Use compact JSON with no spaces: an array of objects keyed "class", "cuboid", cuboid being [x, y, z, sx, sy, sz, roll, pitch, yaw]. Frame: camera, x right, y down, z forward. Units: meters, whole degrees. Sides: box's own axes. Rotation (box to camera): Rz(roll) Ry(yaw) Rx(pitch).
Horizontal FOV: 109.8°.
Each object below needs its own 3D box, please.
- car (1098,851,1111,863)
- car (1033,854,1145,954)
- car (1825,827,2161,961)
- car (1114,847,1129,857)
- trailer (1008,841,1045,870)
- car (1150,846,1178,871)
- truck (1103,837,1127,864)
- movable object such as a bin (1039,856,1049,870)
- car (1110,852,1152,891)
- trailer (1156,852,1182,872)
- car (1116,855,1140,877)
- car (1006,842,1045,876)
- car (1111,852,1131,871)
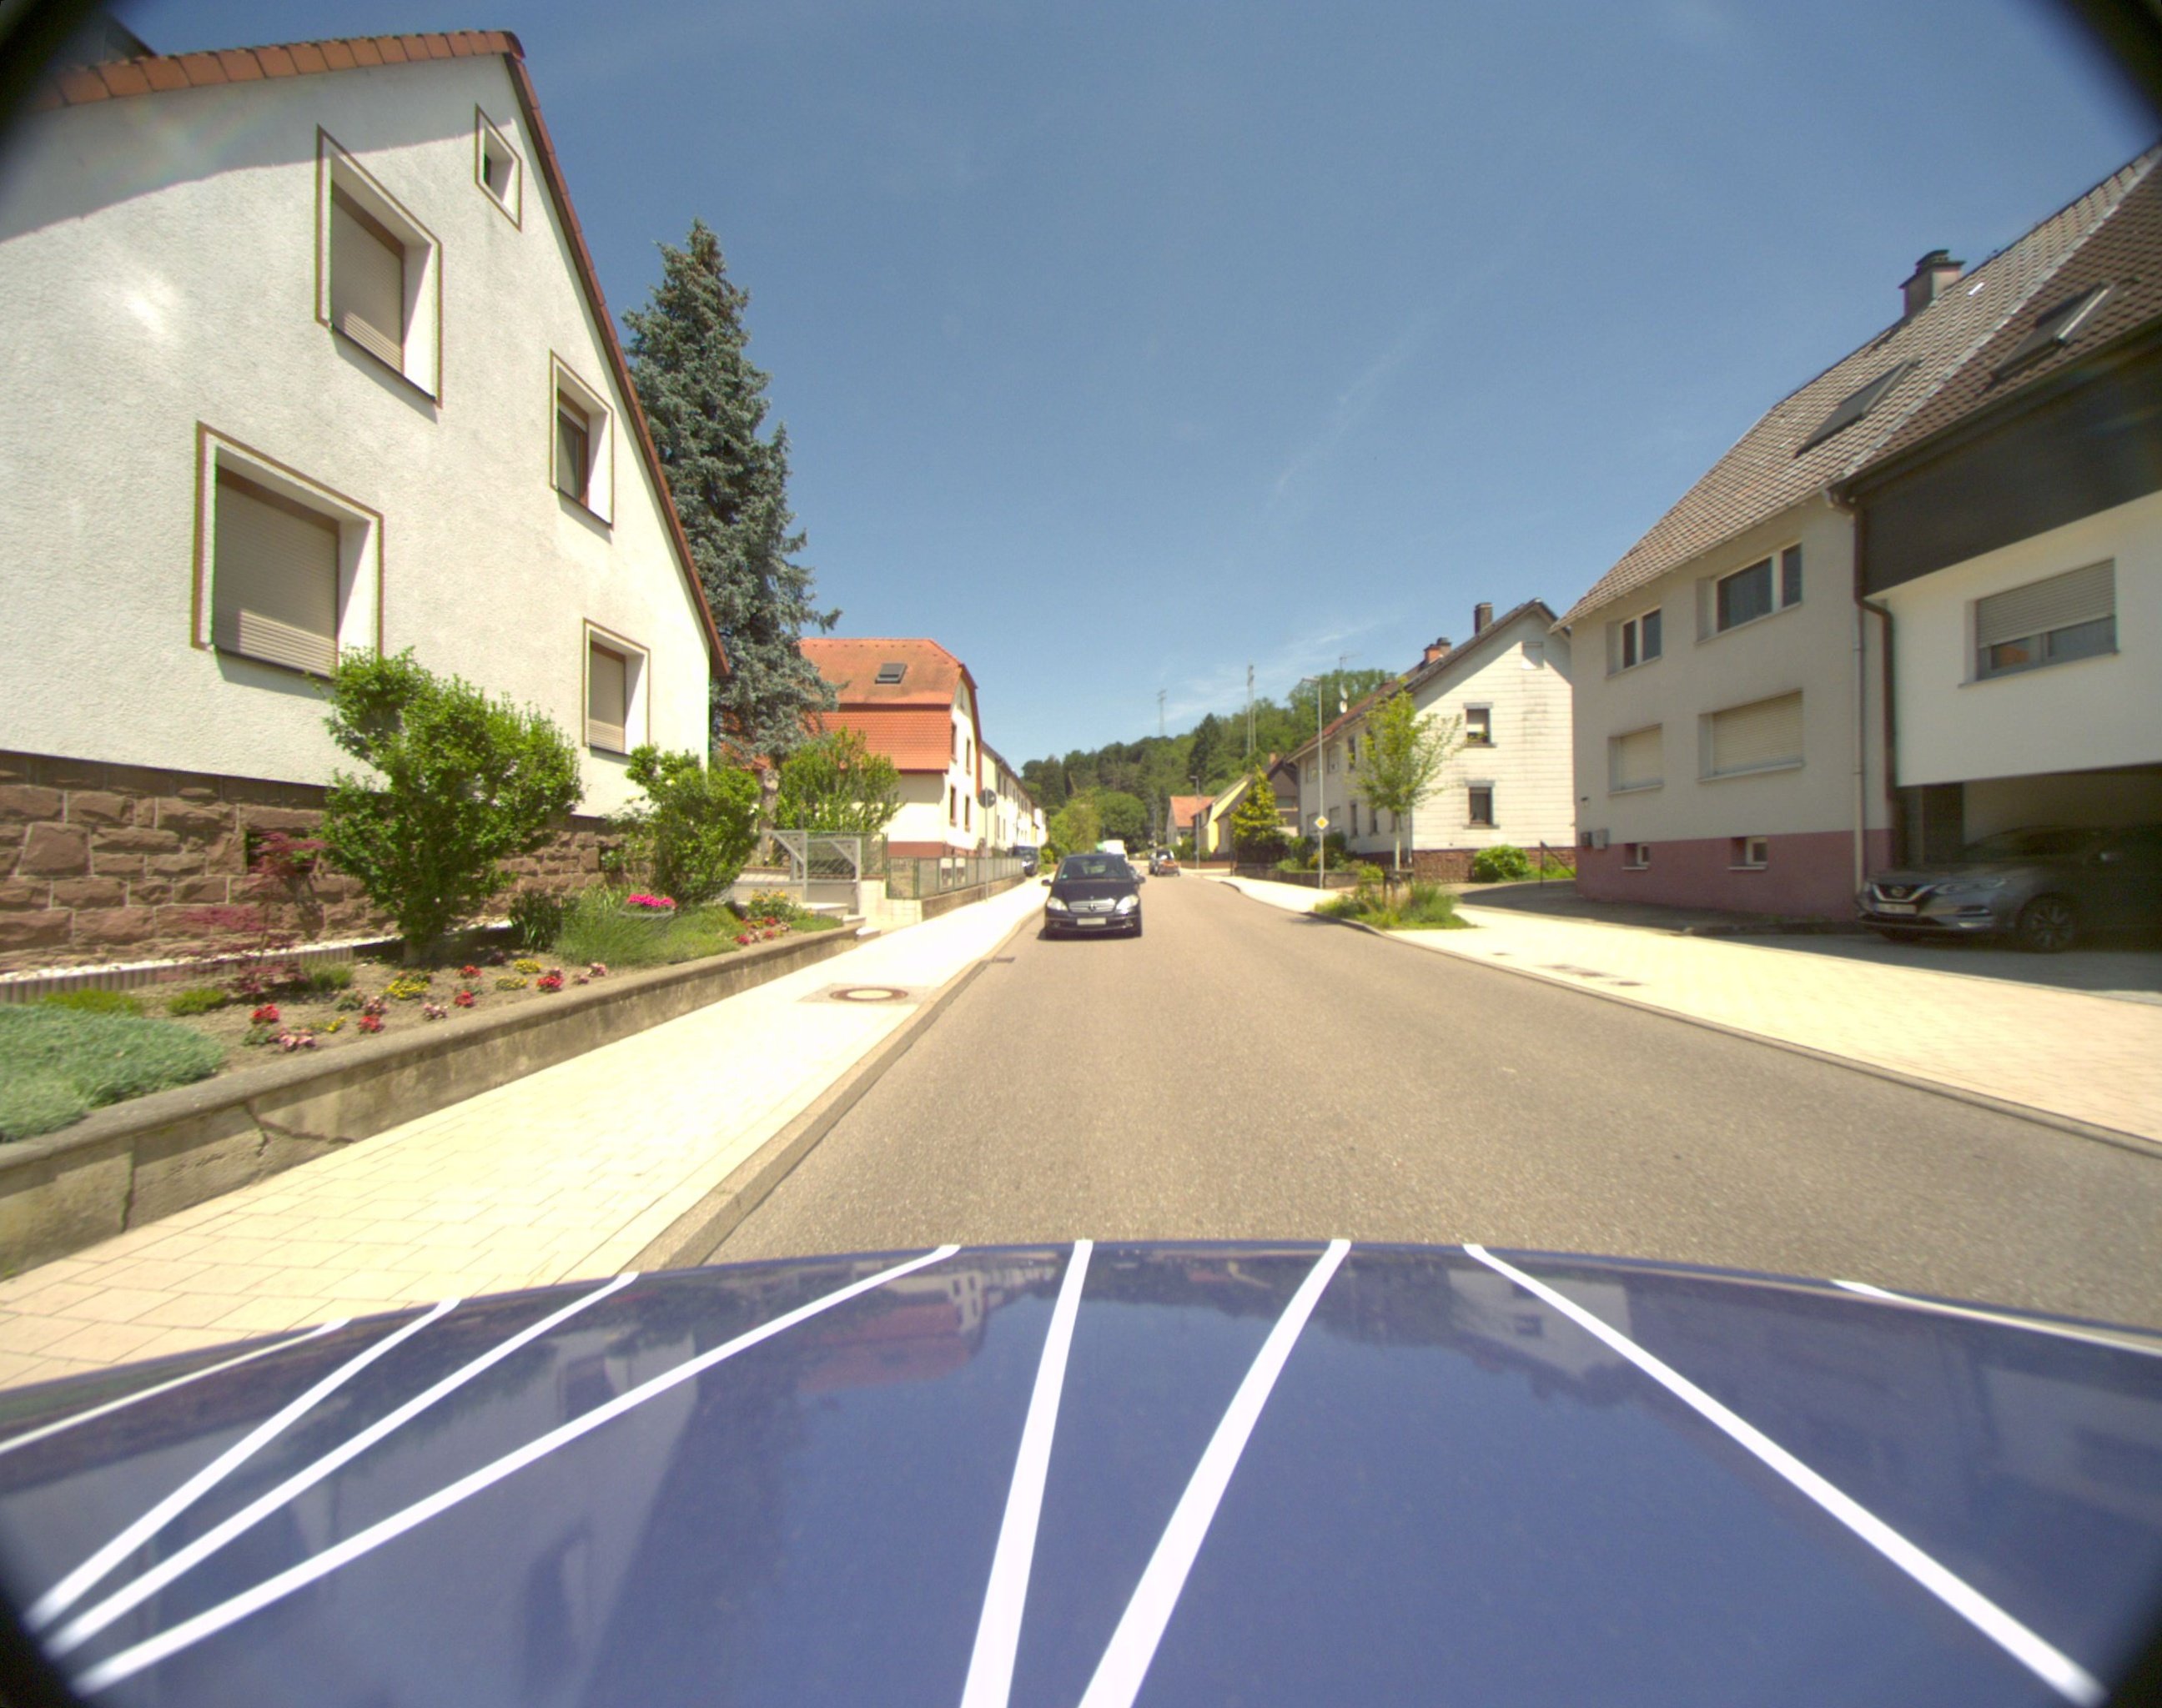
[{"class":"car","cuboid":[3.731,0.434,119.630,1.998,1.805,4.001,-2,0,3]},{"class":"car","cuboid":[0.237,0.825,14.575,1.790,1.595,4.076,-2,0,3]},{"class":"car","cuboid":[12.653,0.456,9.924,3.996,1.536,1.832,-2,0,2]},{"class":"car","cuboid":[8.058,-0.473,150.291,1.706,1.937,3.994,-2,1,-17]},{"class":"trailer","cuboid":[-3.909,0.123,54.627,1.320,2.002,2.278,-1,1,44]},{"class":"car","cuboid":[6.435,0.328,59.028,1.894,1.850,4.579,-1,0,3]},{"class":"truck","cuboid":[4.487,-0.490,101.053,2.805,3.394,8.120,-2,0,1]},{"class":"movable object such as a bin","cuboid":[-3.086,0.770,63.919,0.685,1.109,0.812,3,1,7]},{"class":"car","cuboid":[2.193,0.753,33.955,1.714,1.595,3.880,-2,0,3]},{"class":"trailer","cuboid":[6.346,0.551,55.030,1.578,1.387,4.404,-1,0,4]},{"class":"car","cuboid":[3.515,0.868,57.453,1.714,1.595,3.880,-2,0,3]},{"class":"car","cuboid":[-3.531,0.318,49.517,1.856,1.959,4.774,6,0,2]},{"class":"car","cuboid":[4.114,0.742,77.914,1.967,1.823,4.466,0,0,3]}]
